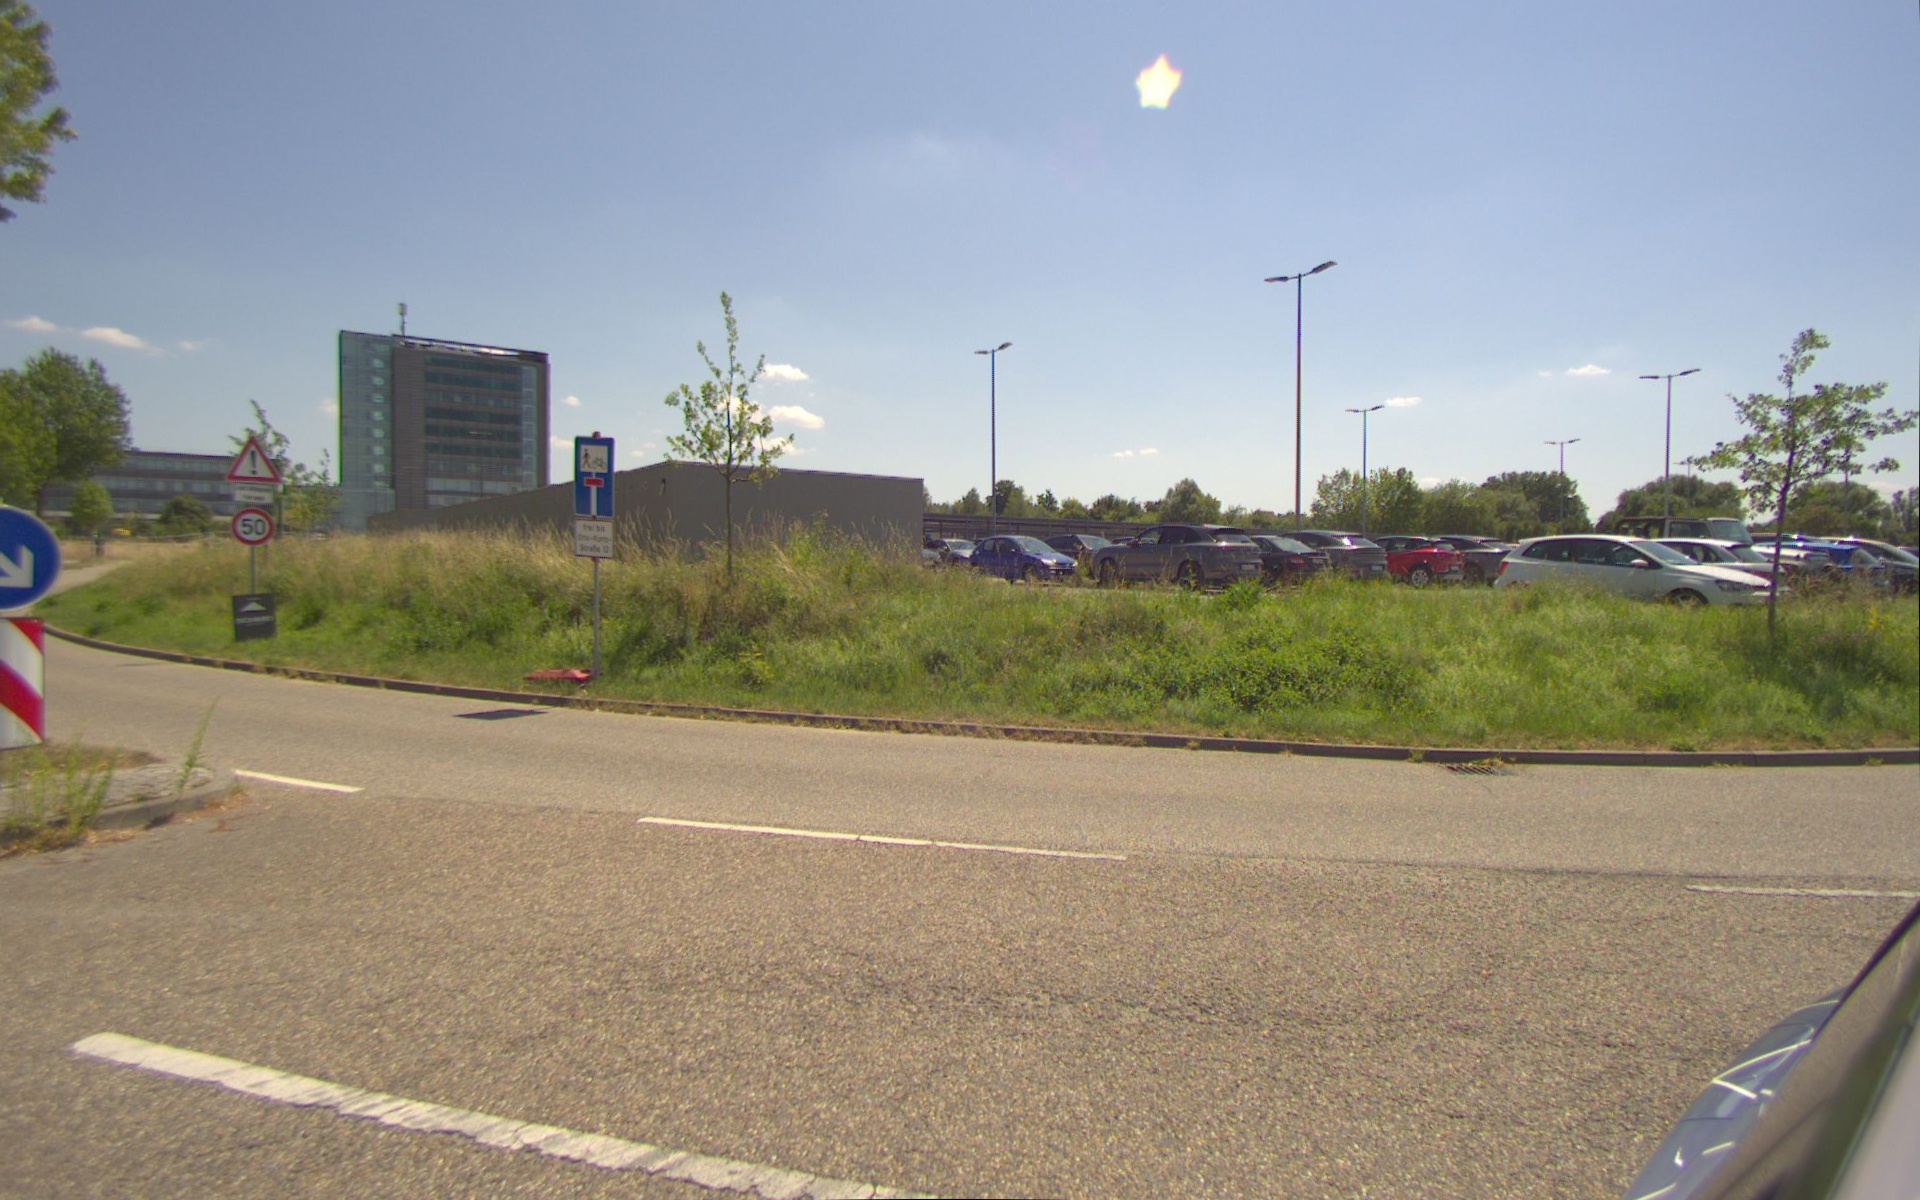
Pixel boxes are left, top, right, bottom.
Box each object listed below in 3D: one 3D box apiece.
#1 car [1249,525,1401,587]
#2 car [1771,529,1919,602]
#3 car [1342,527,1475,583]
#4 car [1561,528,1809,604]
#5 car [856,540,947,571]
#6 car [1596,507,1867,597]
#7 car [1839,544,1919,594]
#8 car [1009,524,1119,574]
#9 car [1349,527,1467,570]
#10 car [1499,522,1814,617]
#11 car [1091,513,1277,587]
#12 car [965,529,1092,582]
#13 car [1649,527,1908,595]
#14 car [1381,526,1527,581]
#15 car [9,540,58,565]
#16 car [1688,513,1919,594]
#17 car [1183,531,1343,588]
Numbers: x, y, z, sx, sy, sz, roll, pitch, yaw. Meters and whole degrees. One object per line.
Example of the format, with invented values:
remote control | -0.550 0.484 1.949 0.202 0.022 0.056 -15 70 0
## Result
car | 10.161 -1.279 28.369 1.736 1.616 3.641 -2 5 -36
car | 21.732 -0.835 23.787 1.588 1.643 3.850 -2 4 -37
car | 13.665 -1.350 30.986 1.495 1.593 3.417 -3 2 -38
car | 12.774 -0.640 17.993 1.473 1.196 3.272 -4 4 -34
car | -2.328 -1.774 39.571 1.543 1.098 3.742 -4 6 -42
car | 14.791 -0.951 19.614 1.839 1.545 3.754 -3 4 -30
car | 26.074 -0.835 26.693 1.872 1.307 4.001 -3 2 -33
car | 3.358 -1.705 33.197 1.569 1.517 3.640 -2 4 -36
car | 16.768 -1.961 38.021 1.736 1.517 3.641 -2 5 -36
car | 10.985 -0.536 16.236 1.545 1.313 3.880 -3 4 -33
car | 5.576 -1.233 25.755 1.744 1.711 4.604 0 2 -36
car | 1.975 -1.346 29.840 1.625 1.463 3.634 -2 4 -42
car | 16.938 -0.844 21.121 1.557 1.272 3.946 -4 4 -37
car | 15.816 -1.457 32.543 1.709 1.619 3.877 -3 2 -38
car | -60.939 -3.112 66.613 1.647 1.523 3.576 -2 2 -31
car | 18.904 -0.983 22.506 1.657 1.448 4.036 -2 -1 -37
car | 7.949 -1.126 26.812 1.622 1.378 3.850 -2 5 -36
